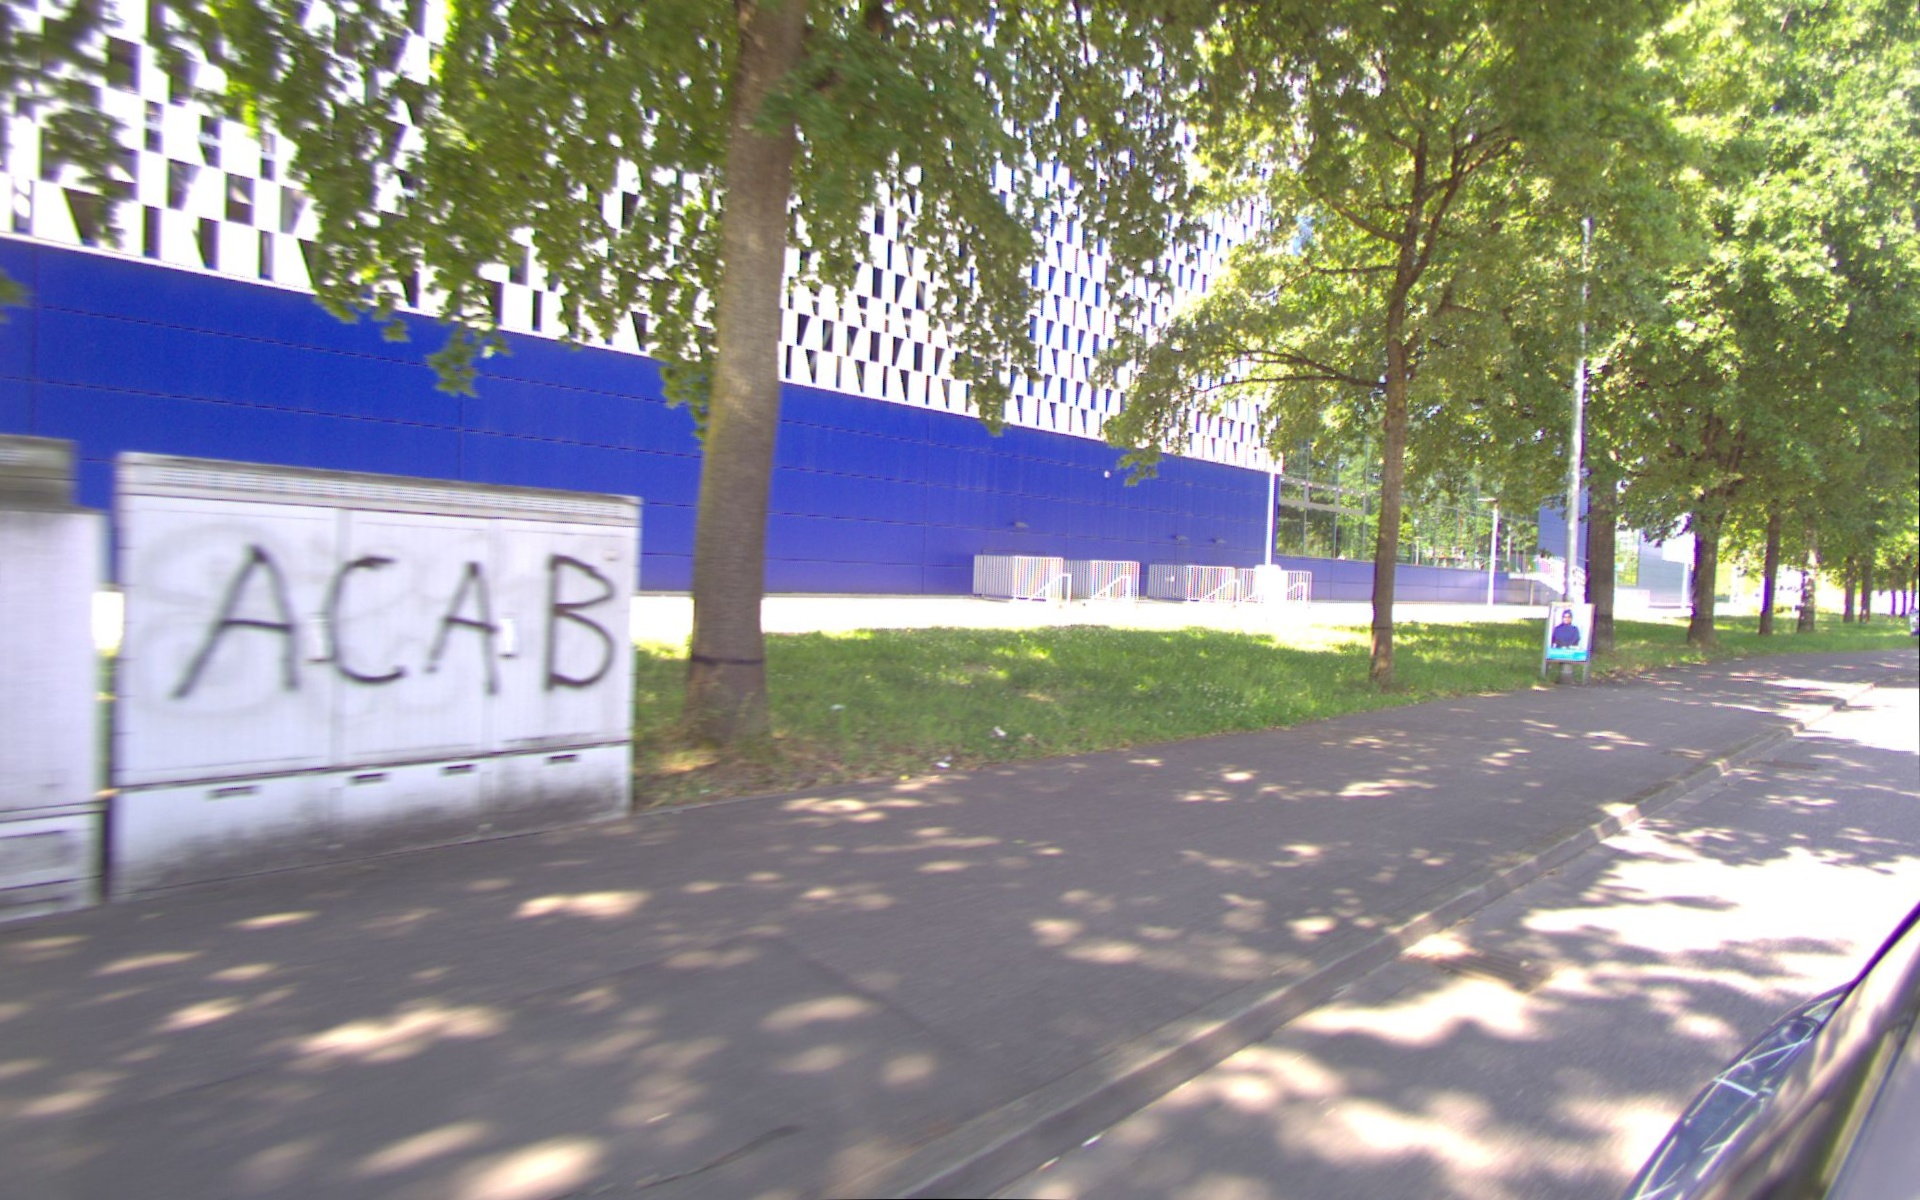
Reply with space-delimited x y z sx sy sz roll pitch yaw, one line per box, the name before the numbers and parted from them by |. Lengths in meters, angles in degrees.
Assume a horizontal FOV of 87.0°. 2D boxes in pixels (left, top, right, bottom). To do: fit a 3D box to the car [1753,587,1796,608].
car | 77.863 -0.278 96.723 4.098 1.851 1.913 1 2 -33
